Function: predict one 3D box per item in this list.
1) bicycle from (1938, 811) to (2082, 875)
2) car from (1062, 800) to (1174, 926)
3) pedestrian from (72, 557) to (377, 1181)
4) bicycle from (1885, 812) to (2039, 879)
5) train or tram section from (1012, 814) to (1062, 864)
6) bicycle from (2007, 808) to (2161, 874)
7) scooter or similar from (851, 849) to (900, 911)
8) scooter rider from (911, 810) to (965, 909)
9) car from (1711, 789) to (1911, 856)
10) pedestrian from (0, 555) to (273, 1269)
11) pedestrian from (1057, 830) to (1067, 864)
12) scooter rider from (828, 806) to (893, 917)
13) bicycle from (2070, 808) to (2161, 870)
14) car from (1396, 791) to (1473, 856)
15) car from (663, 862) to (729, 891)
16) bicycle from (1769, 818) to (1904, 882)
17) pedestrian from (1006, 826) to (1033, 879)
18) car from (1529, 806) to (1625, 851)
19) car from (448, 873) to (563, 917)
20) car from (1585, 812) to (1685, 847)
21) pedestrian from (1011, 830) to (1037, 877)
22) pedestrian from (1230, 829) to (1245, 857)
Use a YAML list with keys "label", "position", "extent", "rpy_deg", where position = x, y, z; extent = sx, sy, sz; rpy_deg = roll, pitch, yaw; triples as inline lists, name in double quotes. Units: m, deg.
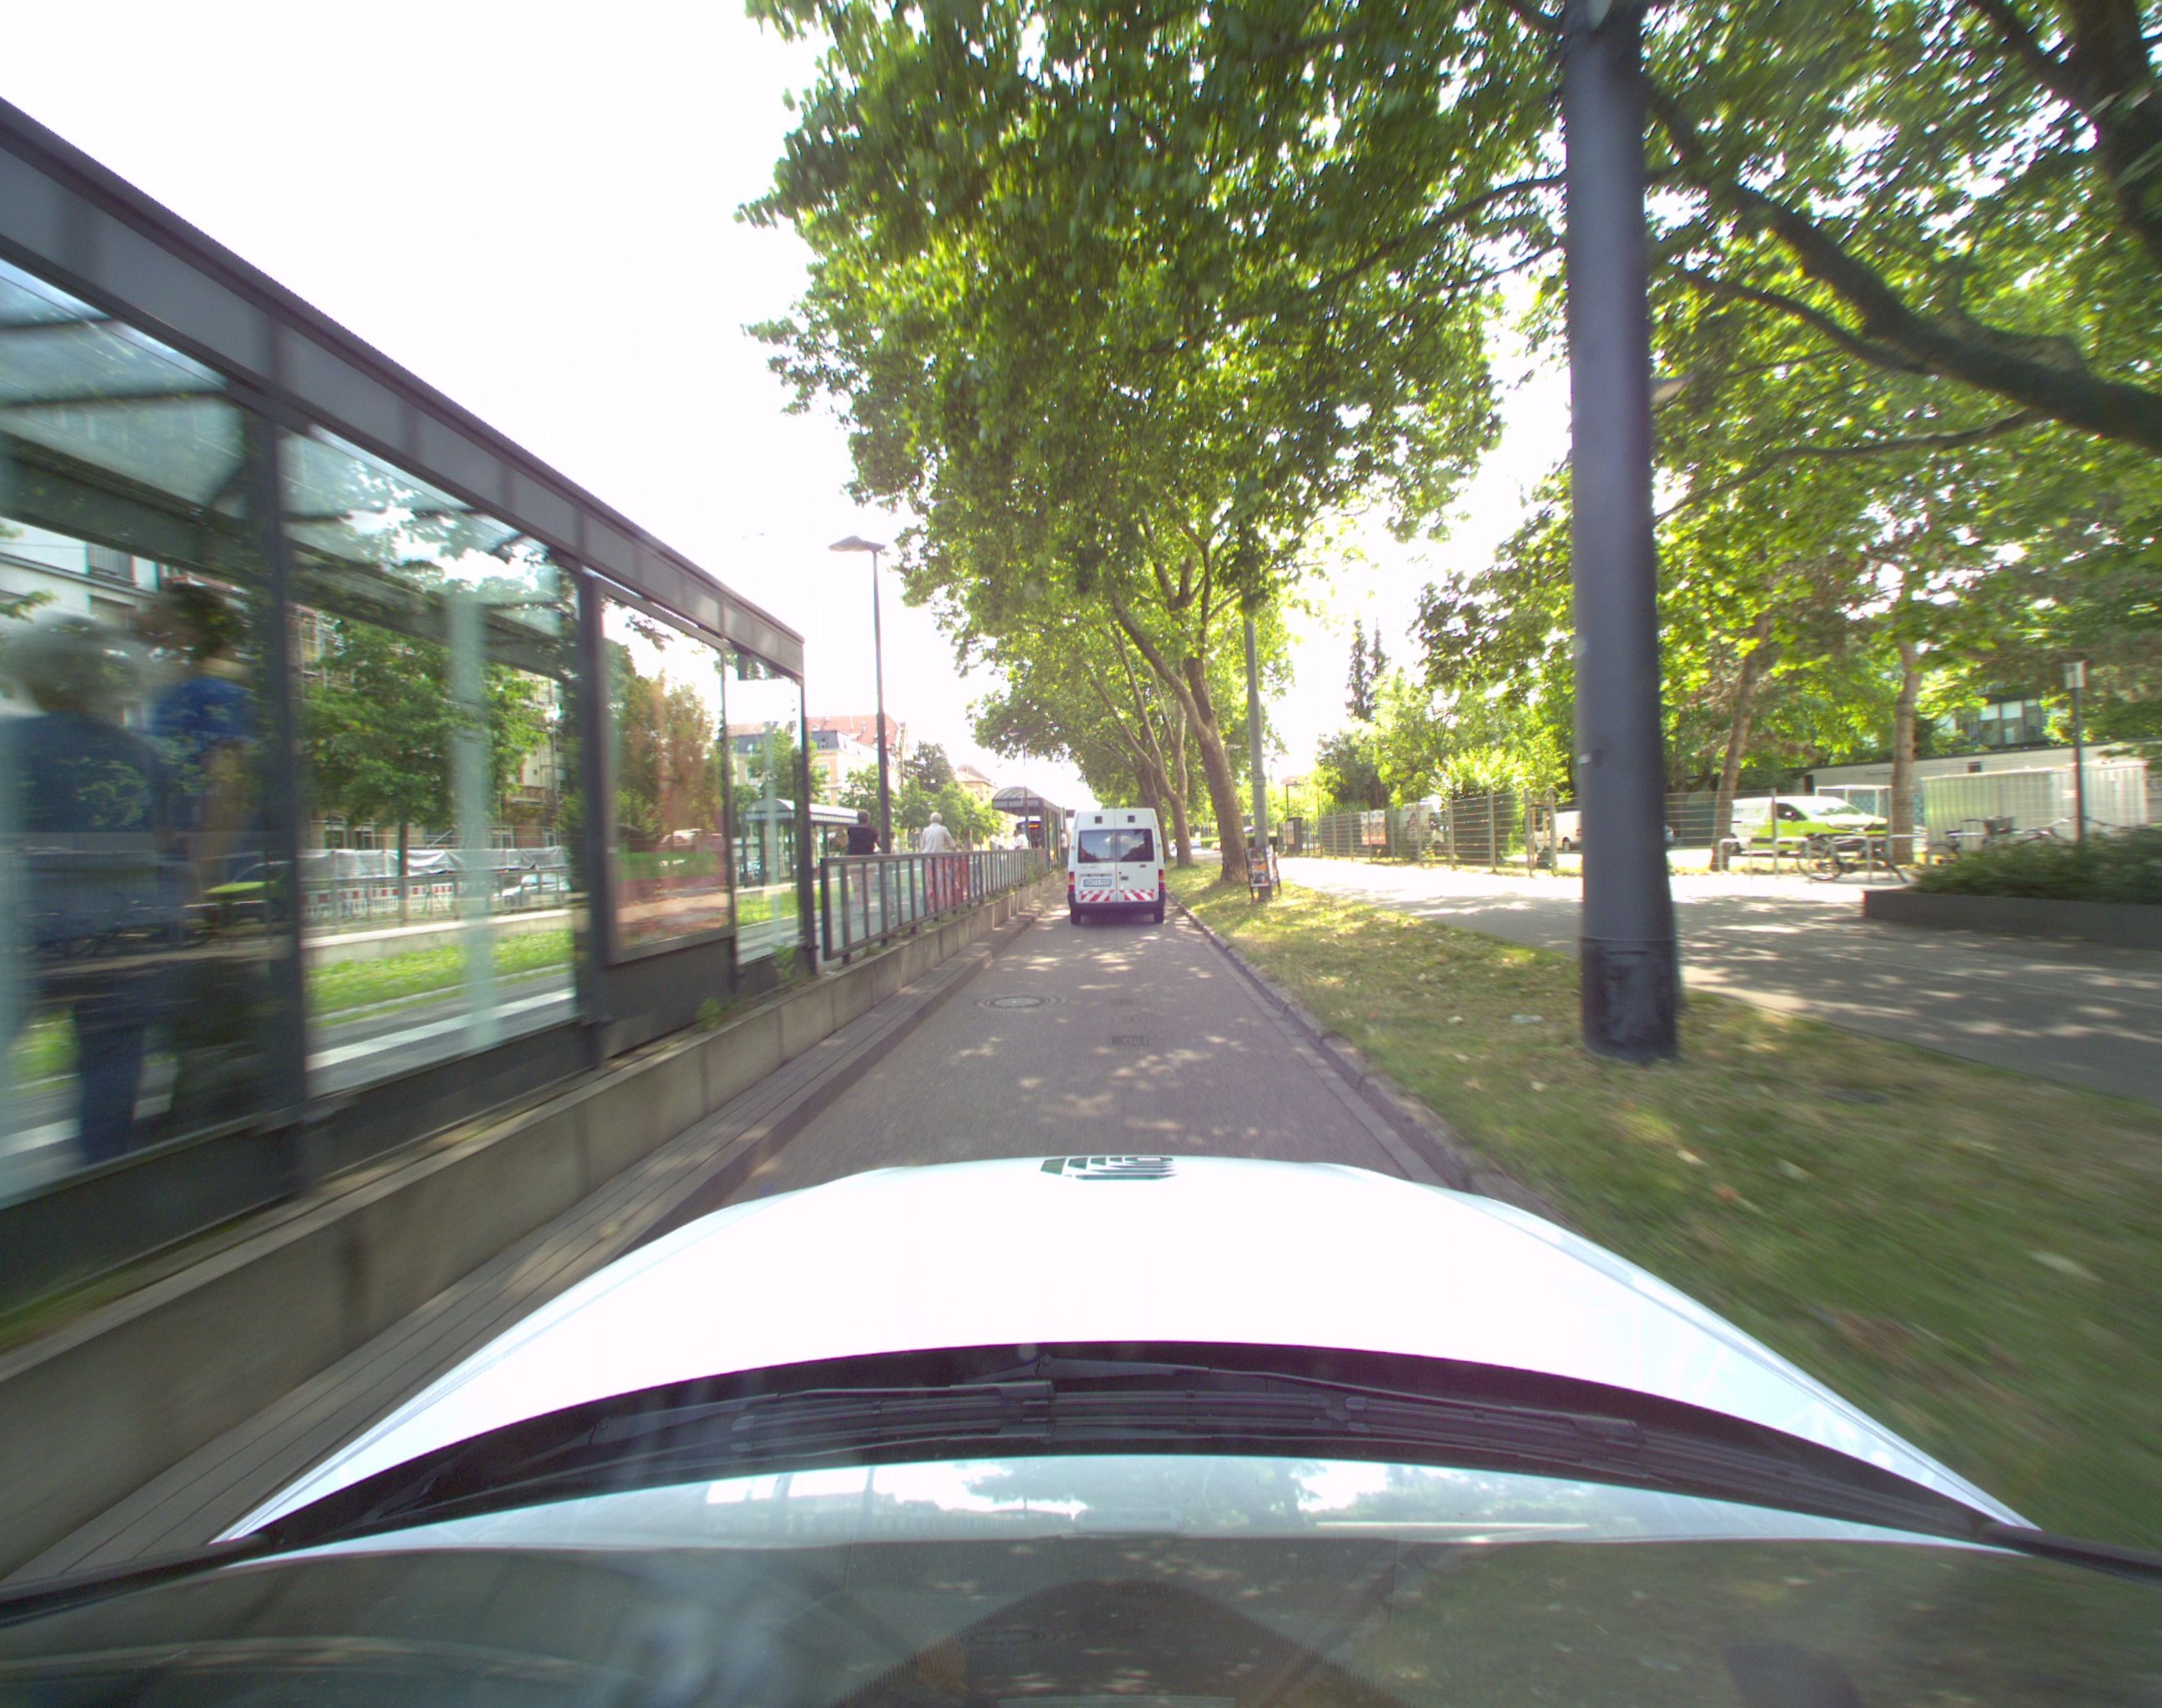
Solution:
- label: "bicycle"
  position: [16.556, -0.192, 14.578]
  extent: [0.514, 1.065, 1.725]
  rpy_deg: [-2, 1, -4]
- label: "car"
  position: [0.762, 0.129, 17.934]
  extent: [2.040, 2.332, 4.716]
  rpy_deg: [-2, 1, 1]
- label: "pedestrian"
  position: [-2.893, 0.038, 2.812]
  extent: [0.472, 1.900, 0.533]
  rpy_deg: [-3, 0, -22]
- label: "bicycle"
  position: [15.592, -0.152, 14.496]
  extent: [0.514, 1.084, 1.953]
  rpy_deg: [-2, 1, -4]
- label: "train or tram section"
  position: [-3.385, -1.168, 66.811]
  extent: [2.713, 3.584, 13.025]
  rpy_deg: [-2, 1, 3]
- label: "bicycle"
  position: [17.574, -0.229, 14.332]
  extent: [0.514, 1.065, 1.725]
  rpy_deg: [-2, 1, -4]
- label: "scooter or similar"
  position: [-3.325, 0.417, 13.190]
  extent: [0.630, 0.956, 0.421]
  rpy_deg: [-3, 0, 1]
- label: "scooter rider"
  position: [-2.370, 0.079, 13.602]
  extent: [0.652, 1.570, 0.901]
  rpy_deg: [-3, 0, 2]
- label: "car"
  position: [21.545, -0.877, 24.368]
  extent: [1.731, 1.755, 4.773]
  rpy_deg: [-2, 1, 1]
- label: "pedestrian"
  position: [-2.672, 0.140, 2.140]
  extent: [0.468, 1.641, 0.537]
  rpy_deg: [-3, 0, 1]
- label: "pedestrian"
  position: [-0.905, -0.324, 38.876]
  extent: [0.384, 1.591, 0.439]
  rpy_deg: [-3, 0, 1]
- label: "scooter rider"
  position: [-3.372, 0.108, 12.497]
  extent: [0.652, 1.613, 0.901]
  rpy_deg: [-3, 0, 2]
- label: "bicycle"
  position: [18.956, -0.269, 14.497]
  extent: [0.514, 1.065, 1.725]
  rpy_deg: [-2, 1, -4]
- label: "car"
  position: [16.198, -1.354, 37.564]
  extent: [1.800, 2.774, 4.281]
  rpy_deg: [-2, 0, 2]
- label: "car"
  position: [-21.248, 1.210, 45.064]
  extent: [1.712, 1.371, 3.707]
  rpy_deg: [-3, 1, 2]
- label: "bicycle"
  position: [13.700, -0.080, 14.850]
  extent: [0.605, 1.073, 1.835]
  rpy_deg: [-3, 1, -6]
- label: "pedestrian"
  position: [-1.797, -0.048, 23.938]
  extent: [0.673, 1.515, 0.596]
  rpy_deg: [-3, 0, 1]
- label: "car"
  position: [21.810, -1.084, 36.010]
  extent: [1.799, 1.814, 4.344]
  rpy_deg: [-2, 1, 4]
- label: "car"
  position: [-21.695, 1.520, 30.883]
  extent: [1.712, 1.371, 3.479]
  rpy_deg: [-3, 1, 2]
- label: "car"
  position: [24.410, -1.035, 36.057]
  extent: [1.800, 1.402, 4.050]
  rpy_deg: [-2, 1, 2]
- label: "pedestrian"
  position: [-1.757, -0.016, 24.960]
  extent: [0.673, 1.403, 0.596]
  rpy_deg: [-3, 0, 1]
- label: "pedestrian"
  position: [9.241, -0.663, 48.069]
  extent: [0.691, 1.625, 0.637]
  rpy_deg: [-3, 0, 1]
